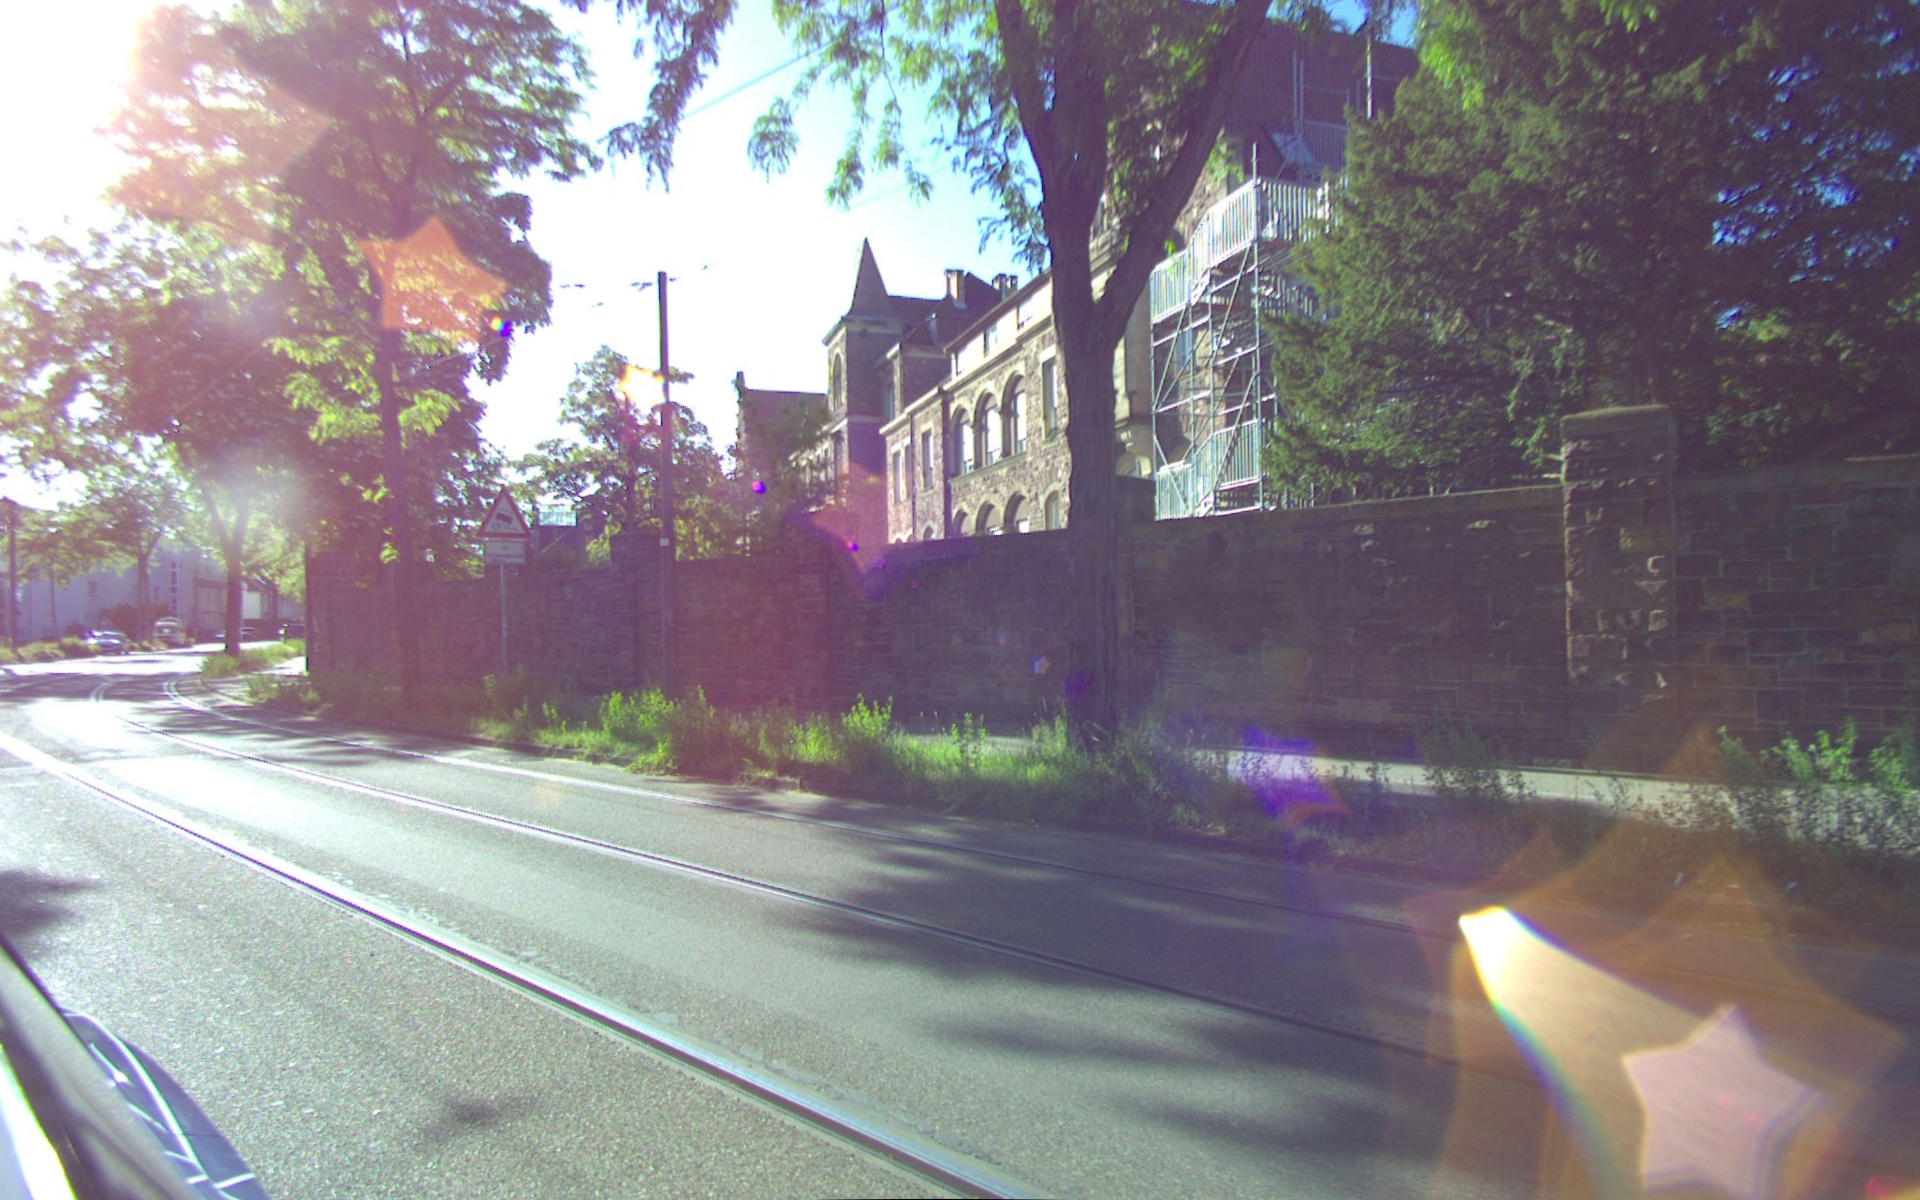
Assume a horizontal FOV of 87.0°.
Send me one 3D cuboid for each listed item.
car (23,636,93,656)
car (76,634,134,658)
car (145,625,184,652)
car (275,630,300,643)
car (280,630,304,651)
[{"bbox_3d":[-78.663,4.006,88.264,2.009,1.501,4.399,3,2,43],"label":"car"},{"bbox_3d":[-57.171,3.072,67.789,1.973,1.476,5.449,3,-3,-30],"label":"car"},{"bbox_3d":[-65.928,3.195,83.955,1.966,2.111,4.730,-1,-1,-31],"label":"car"},{"bbox_3d":[-88.257,4.806,132.883,1.849,1.530,4.664,-1,-1,-21],"label":"car"},{"bbox_3d":[-61.418,3.696,93.060,1.610,1.806,4.351,-1,-1,-30],"label":"car"}]
